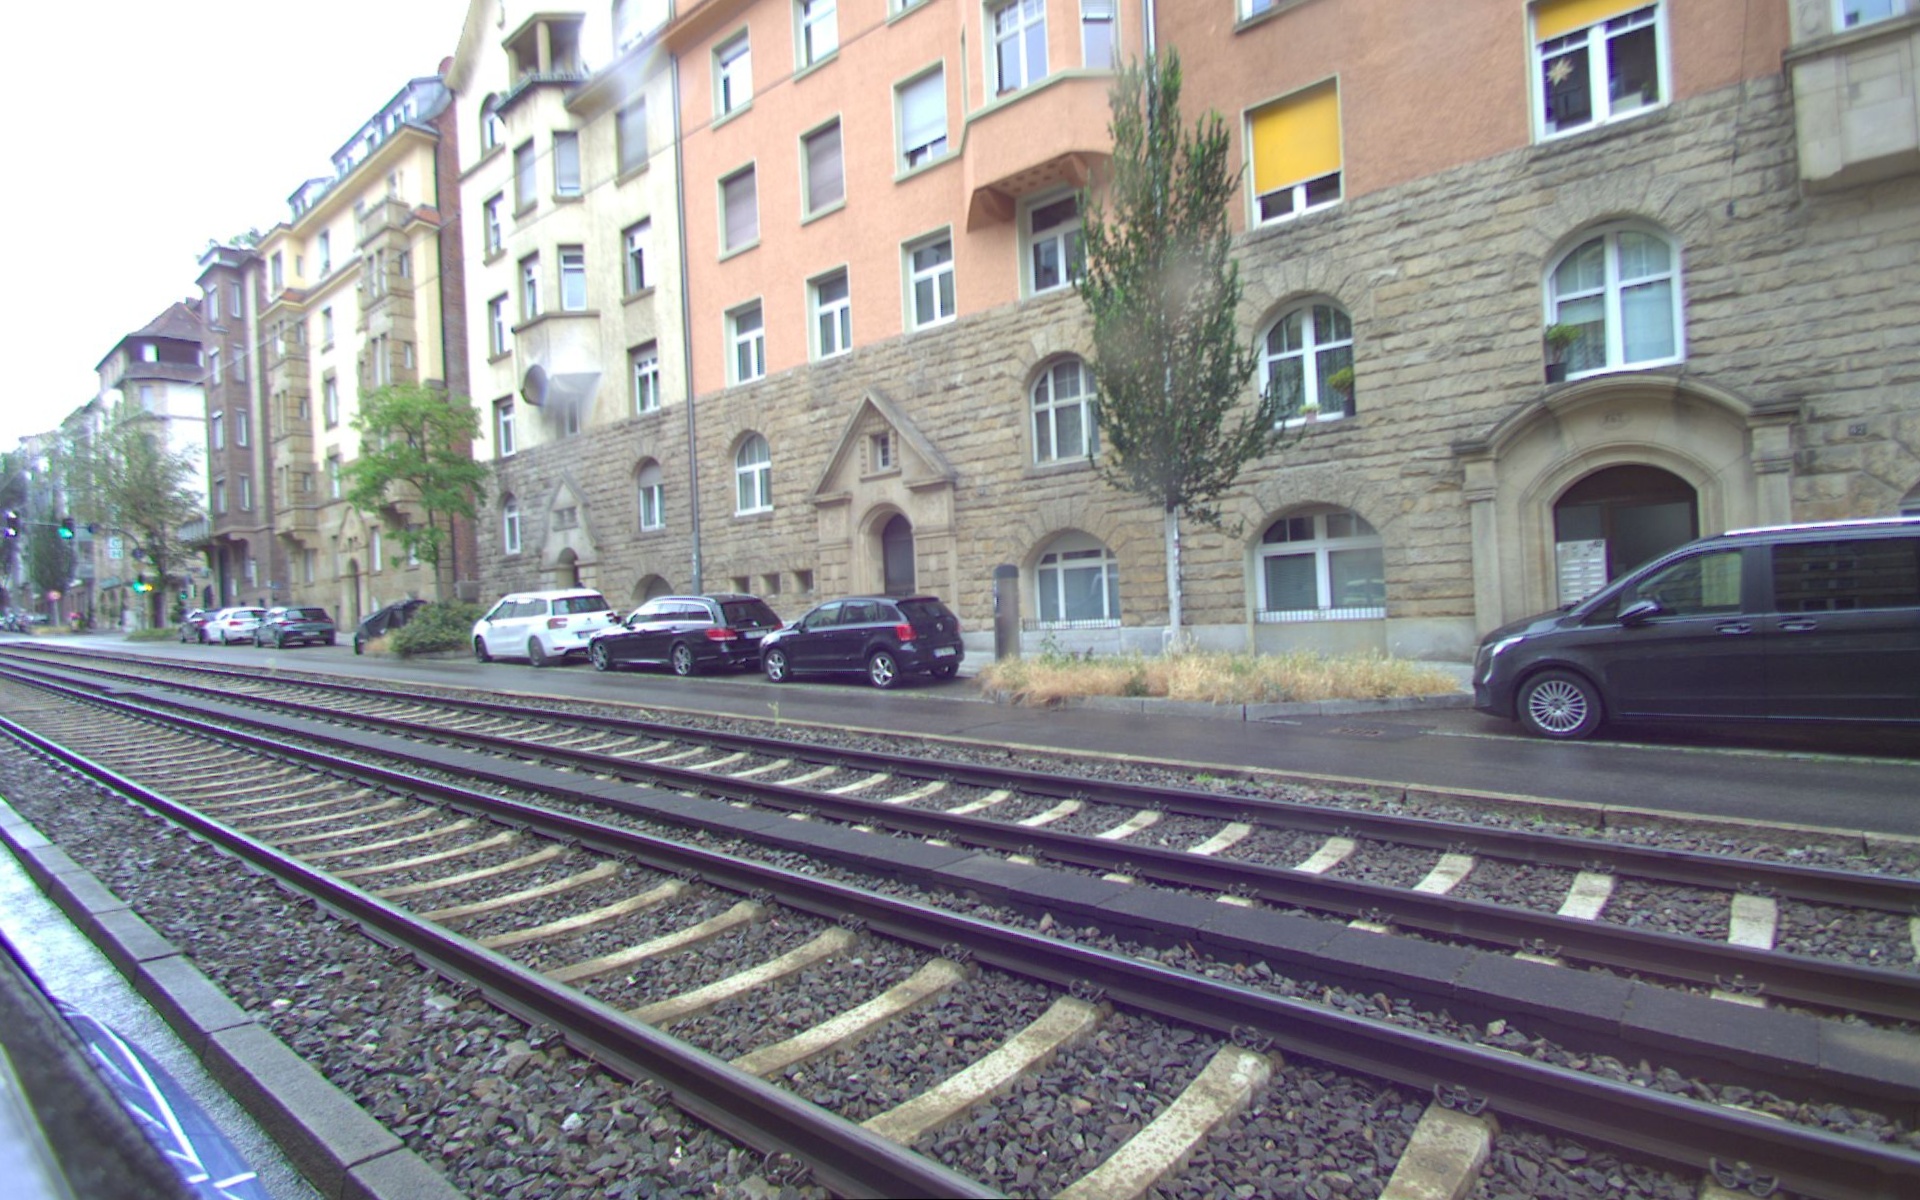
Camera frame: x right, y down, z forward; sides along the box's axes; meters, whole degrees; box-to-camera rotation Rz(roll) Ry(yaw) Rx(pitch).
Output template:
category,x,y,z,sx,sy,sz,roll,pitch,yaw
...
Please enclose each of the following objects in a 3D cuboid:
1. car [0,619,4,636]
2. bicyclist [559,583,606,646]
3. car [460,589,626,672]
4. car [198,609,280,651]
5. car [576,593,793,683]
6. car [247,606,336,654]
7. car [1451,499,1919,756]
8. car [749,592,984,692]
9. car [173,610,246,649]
category,x,y,z,sx,sy,sz,roll,pitch,yaw
car,-81.626,2.310,84.809,4.255,1.356,1.771,-1,0,41
bicyclist,-9.968,0.369,26.724,0.774,1.613,0.883,-1,0,41
car,-9.767,0.667,23.570,4.257,1.684,1.738,-1,3,40
car,-28.386,1.154,39.805,4.043,1.462,1.737,-1,3,42
car,-5.485,0.689,19.863,4.593,1.502,1.738,-1,2,39
car,-23.752,1.031,35.906,3.712,1.493,1.695,-1,3,42
car,7.203,0.212,8.948,4.829,1.945,1.886,-1,0,40
car,-1.610,0.644,16.853,3.690,1.414,1.739,-1,2,38
car,-31.882,1.216,42.971,3.712,1.438,1.737,-1,3,42
